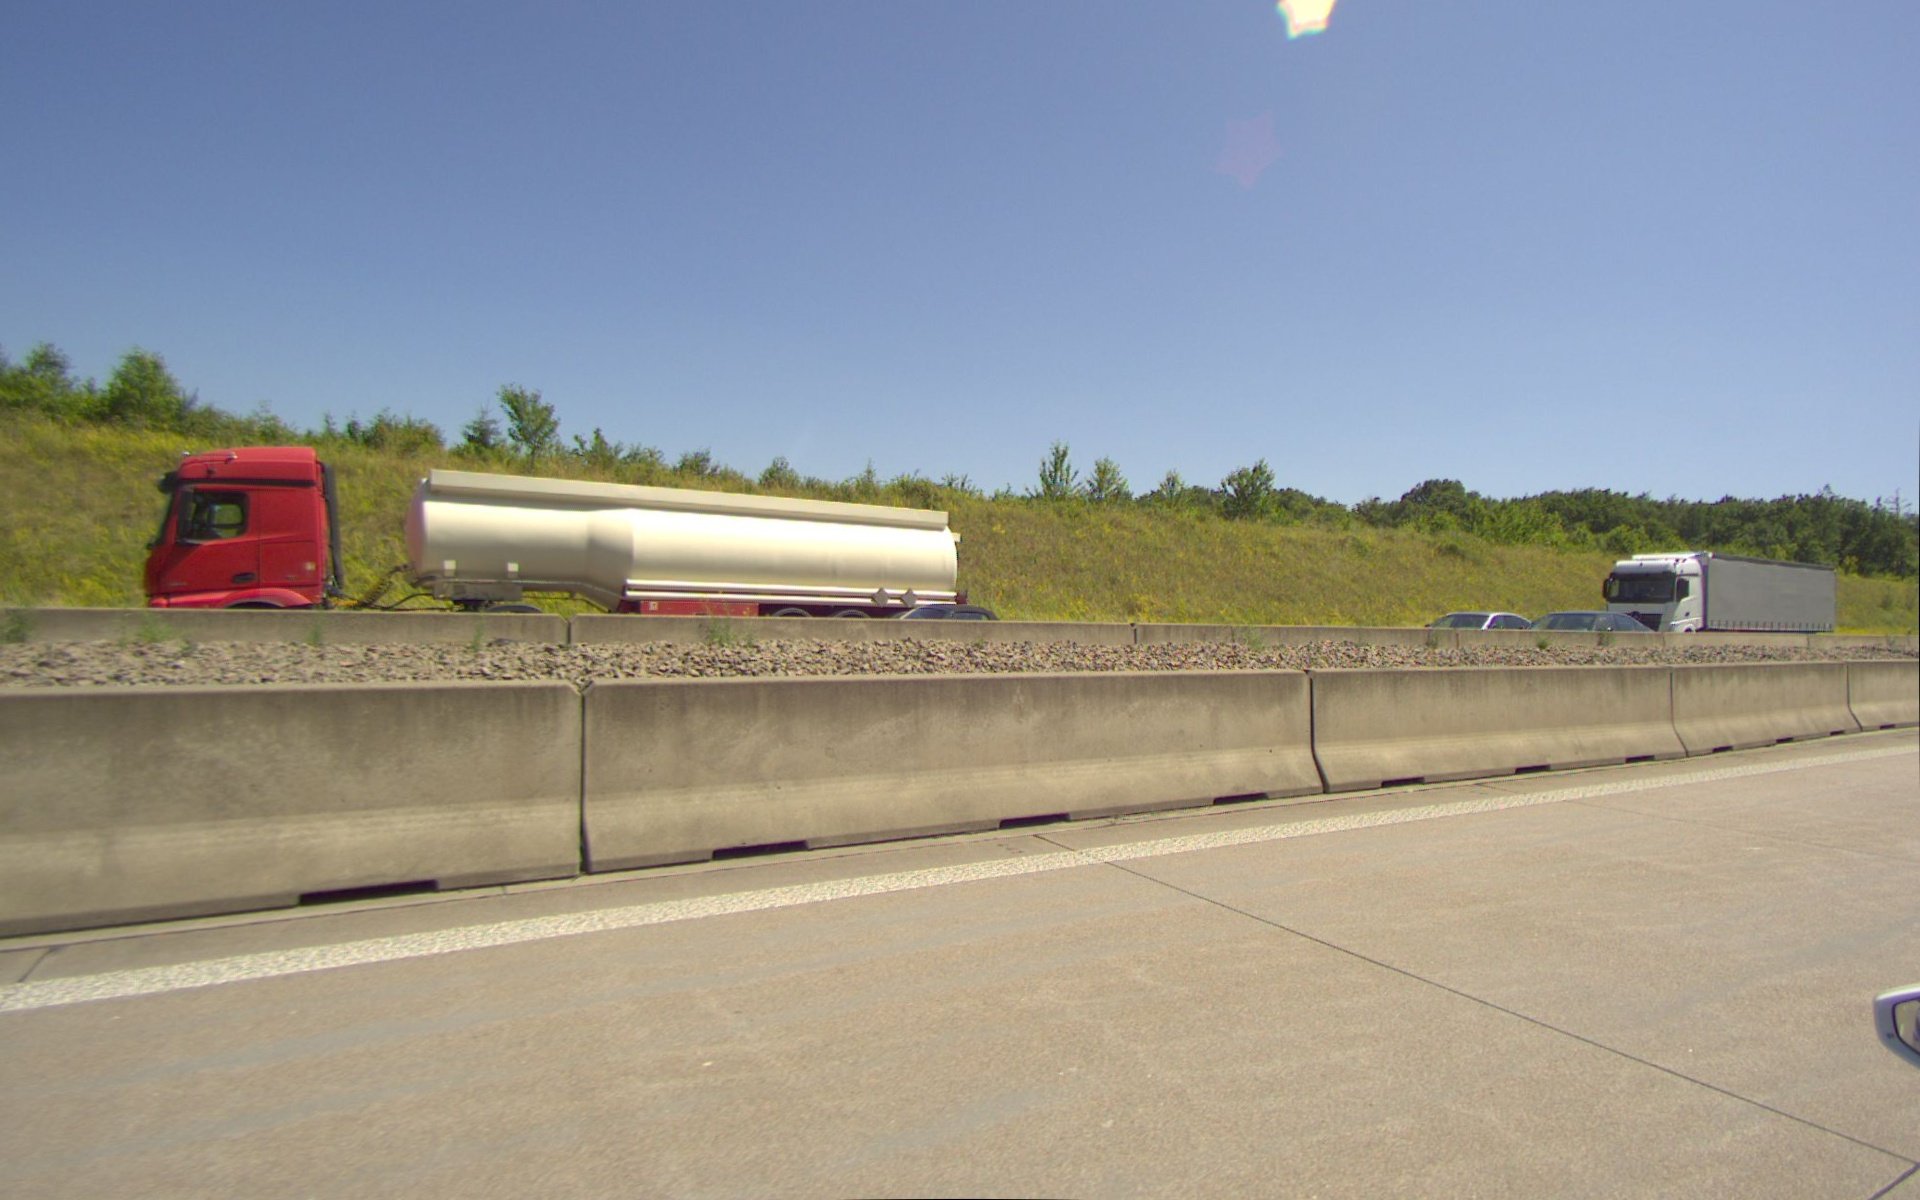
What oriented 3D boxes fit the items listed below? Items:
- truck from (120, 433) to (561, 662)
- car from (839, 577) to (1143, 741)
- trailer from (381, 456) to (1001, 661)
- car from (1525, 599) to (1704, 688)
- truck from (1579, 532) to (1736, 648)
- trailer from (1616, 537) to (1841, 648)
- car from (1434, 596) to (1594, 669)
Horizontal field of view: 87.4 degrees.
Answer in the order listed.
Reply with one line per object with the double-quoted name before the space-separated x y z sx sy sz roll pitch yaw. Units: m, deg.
"truck" -10.149 -0.730 17.047 5.838 3.258 2.918 2 2 -31
"car" 0.475 0.796 14.726 3.954 2.041 1.983 2 2 -31
"trailer" -4.886 -0.556 20.273 11.697 3.258 2.918 2 2 -31
"car" 15.402 0.981 23.611 3.992 1.929 1.983 1 0 -31
"truck" 27.358 -0.351 39.386 5.698 4.225 2.916 2 2 -33
"trailer" 33.452 -0.158 43.359 14.233 4.225 2.916 2 2 -33
"car" 14.643 0.834 26.507 3.954 1.795 1.983 1 0 -31
